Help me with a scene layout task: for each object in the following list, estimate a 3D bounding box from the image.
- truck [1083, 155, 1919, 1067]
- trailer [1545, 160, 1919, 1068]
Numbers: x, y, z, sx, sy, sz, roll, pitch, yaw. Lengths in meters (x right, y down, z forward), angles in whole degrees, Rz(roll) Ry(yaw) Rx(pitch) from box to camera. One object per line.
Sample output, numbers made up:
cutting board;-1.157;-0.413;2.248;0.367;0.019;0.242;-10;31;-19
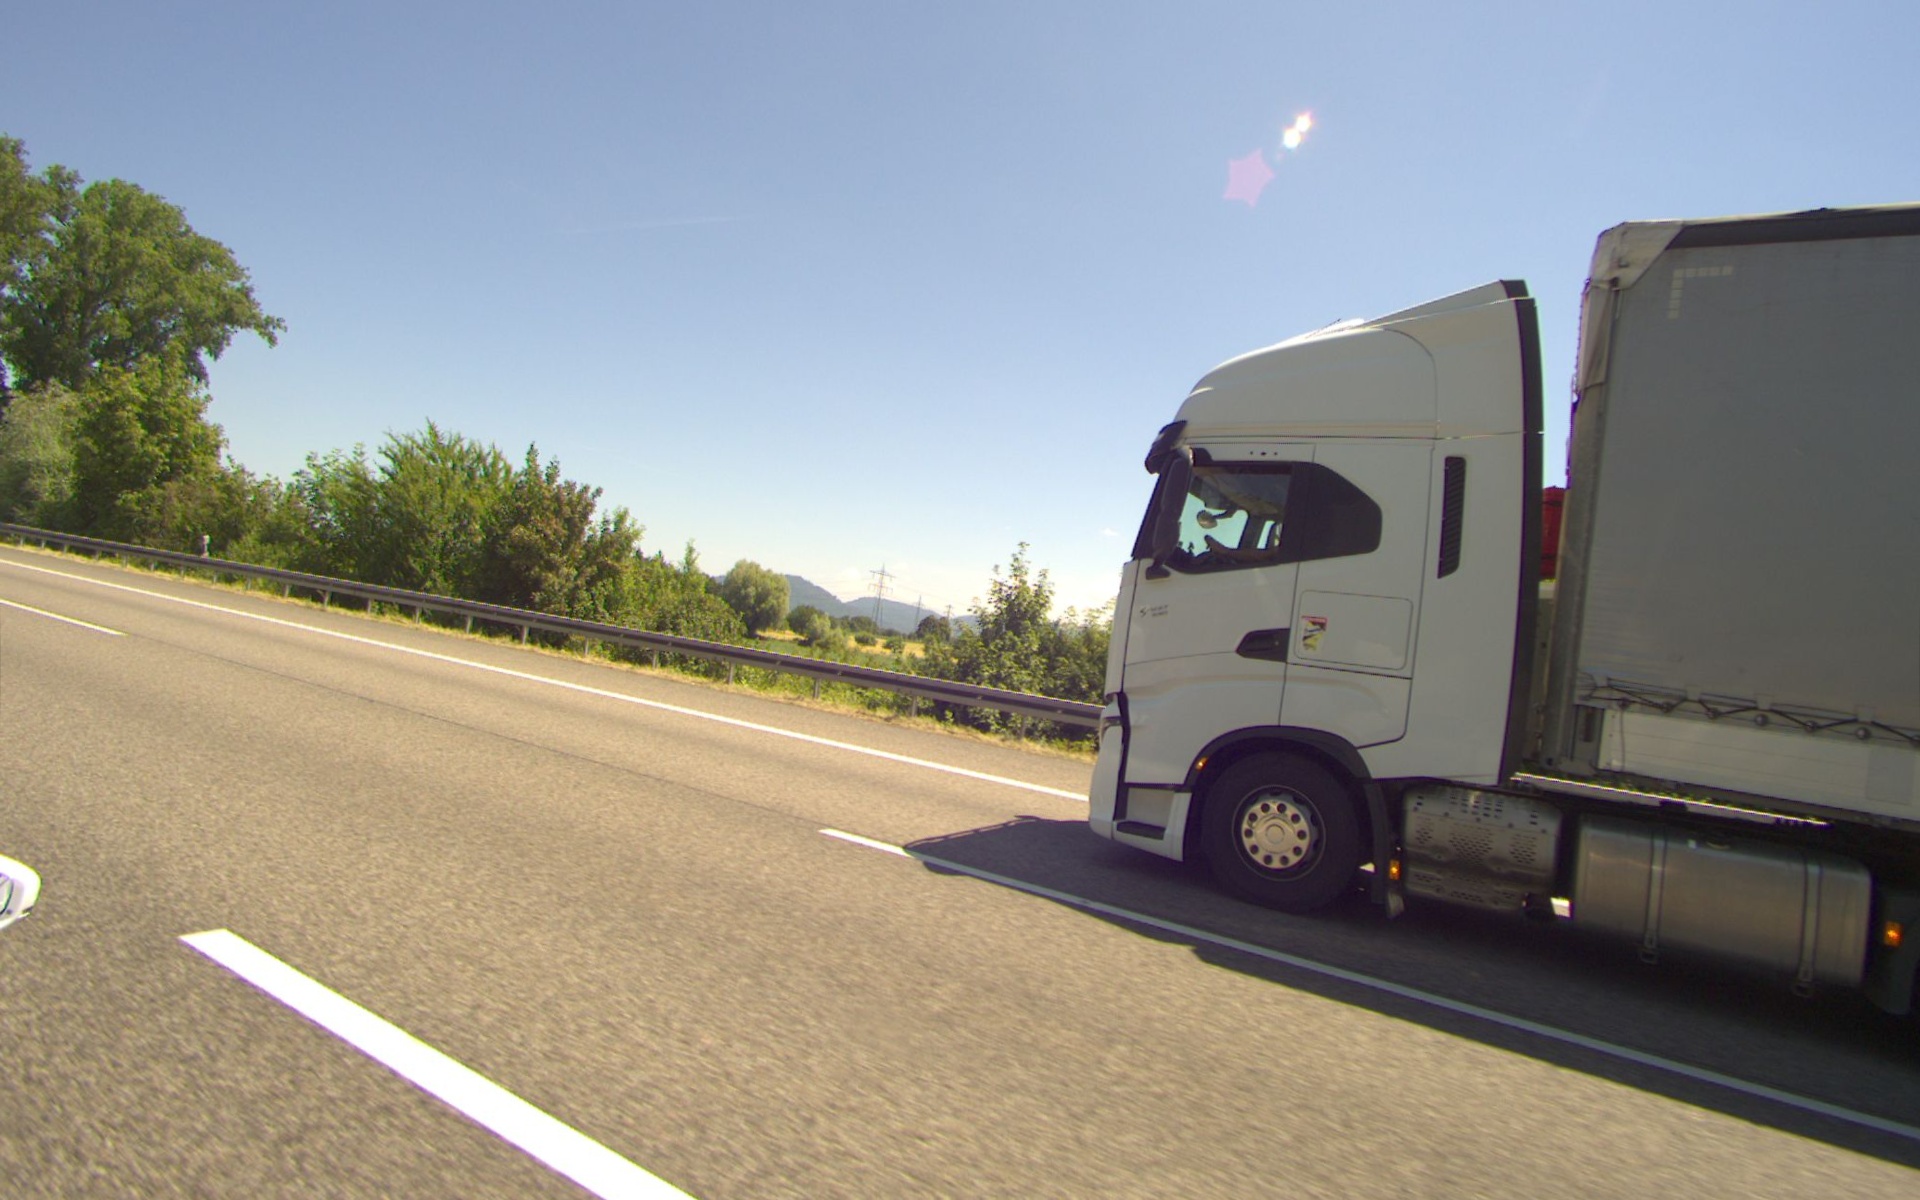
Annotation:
truck;4.020;0.008;6.645;5.346;4.336;2.611;6;-2;32
trailer;9.932;0.626;2.961;13.828;4.310;2.629;6;-2;32
